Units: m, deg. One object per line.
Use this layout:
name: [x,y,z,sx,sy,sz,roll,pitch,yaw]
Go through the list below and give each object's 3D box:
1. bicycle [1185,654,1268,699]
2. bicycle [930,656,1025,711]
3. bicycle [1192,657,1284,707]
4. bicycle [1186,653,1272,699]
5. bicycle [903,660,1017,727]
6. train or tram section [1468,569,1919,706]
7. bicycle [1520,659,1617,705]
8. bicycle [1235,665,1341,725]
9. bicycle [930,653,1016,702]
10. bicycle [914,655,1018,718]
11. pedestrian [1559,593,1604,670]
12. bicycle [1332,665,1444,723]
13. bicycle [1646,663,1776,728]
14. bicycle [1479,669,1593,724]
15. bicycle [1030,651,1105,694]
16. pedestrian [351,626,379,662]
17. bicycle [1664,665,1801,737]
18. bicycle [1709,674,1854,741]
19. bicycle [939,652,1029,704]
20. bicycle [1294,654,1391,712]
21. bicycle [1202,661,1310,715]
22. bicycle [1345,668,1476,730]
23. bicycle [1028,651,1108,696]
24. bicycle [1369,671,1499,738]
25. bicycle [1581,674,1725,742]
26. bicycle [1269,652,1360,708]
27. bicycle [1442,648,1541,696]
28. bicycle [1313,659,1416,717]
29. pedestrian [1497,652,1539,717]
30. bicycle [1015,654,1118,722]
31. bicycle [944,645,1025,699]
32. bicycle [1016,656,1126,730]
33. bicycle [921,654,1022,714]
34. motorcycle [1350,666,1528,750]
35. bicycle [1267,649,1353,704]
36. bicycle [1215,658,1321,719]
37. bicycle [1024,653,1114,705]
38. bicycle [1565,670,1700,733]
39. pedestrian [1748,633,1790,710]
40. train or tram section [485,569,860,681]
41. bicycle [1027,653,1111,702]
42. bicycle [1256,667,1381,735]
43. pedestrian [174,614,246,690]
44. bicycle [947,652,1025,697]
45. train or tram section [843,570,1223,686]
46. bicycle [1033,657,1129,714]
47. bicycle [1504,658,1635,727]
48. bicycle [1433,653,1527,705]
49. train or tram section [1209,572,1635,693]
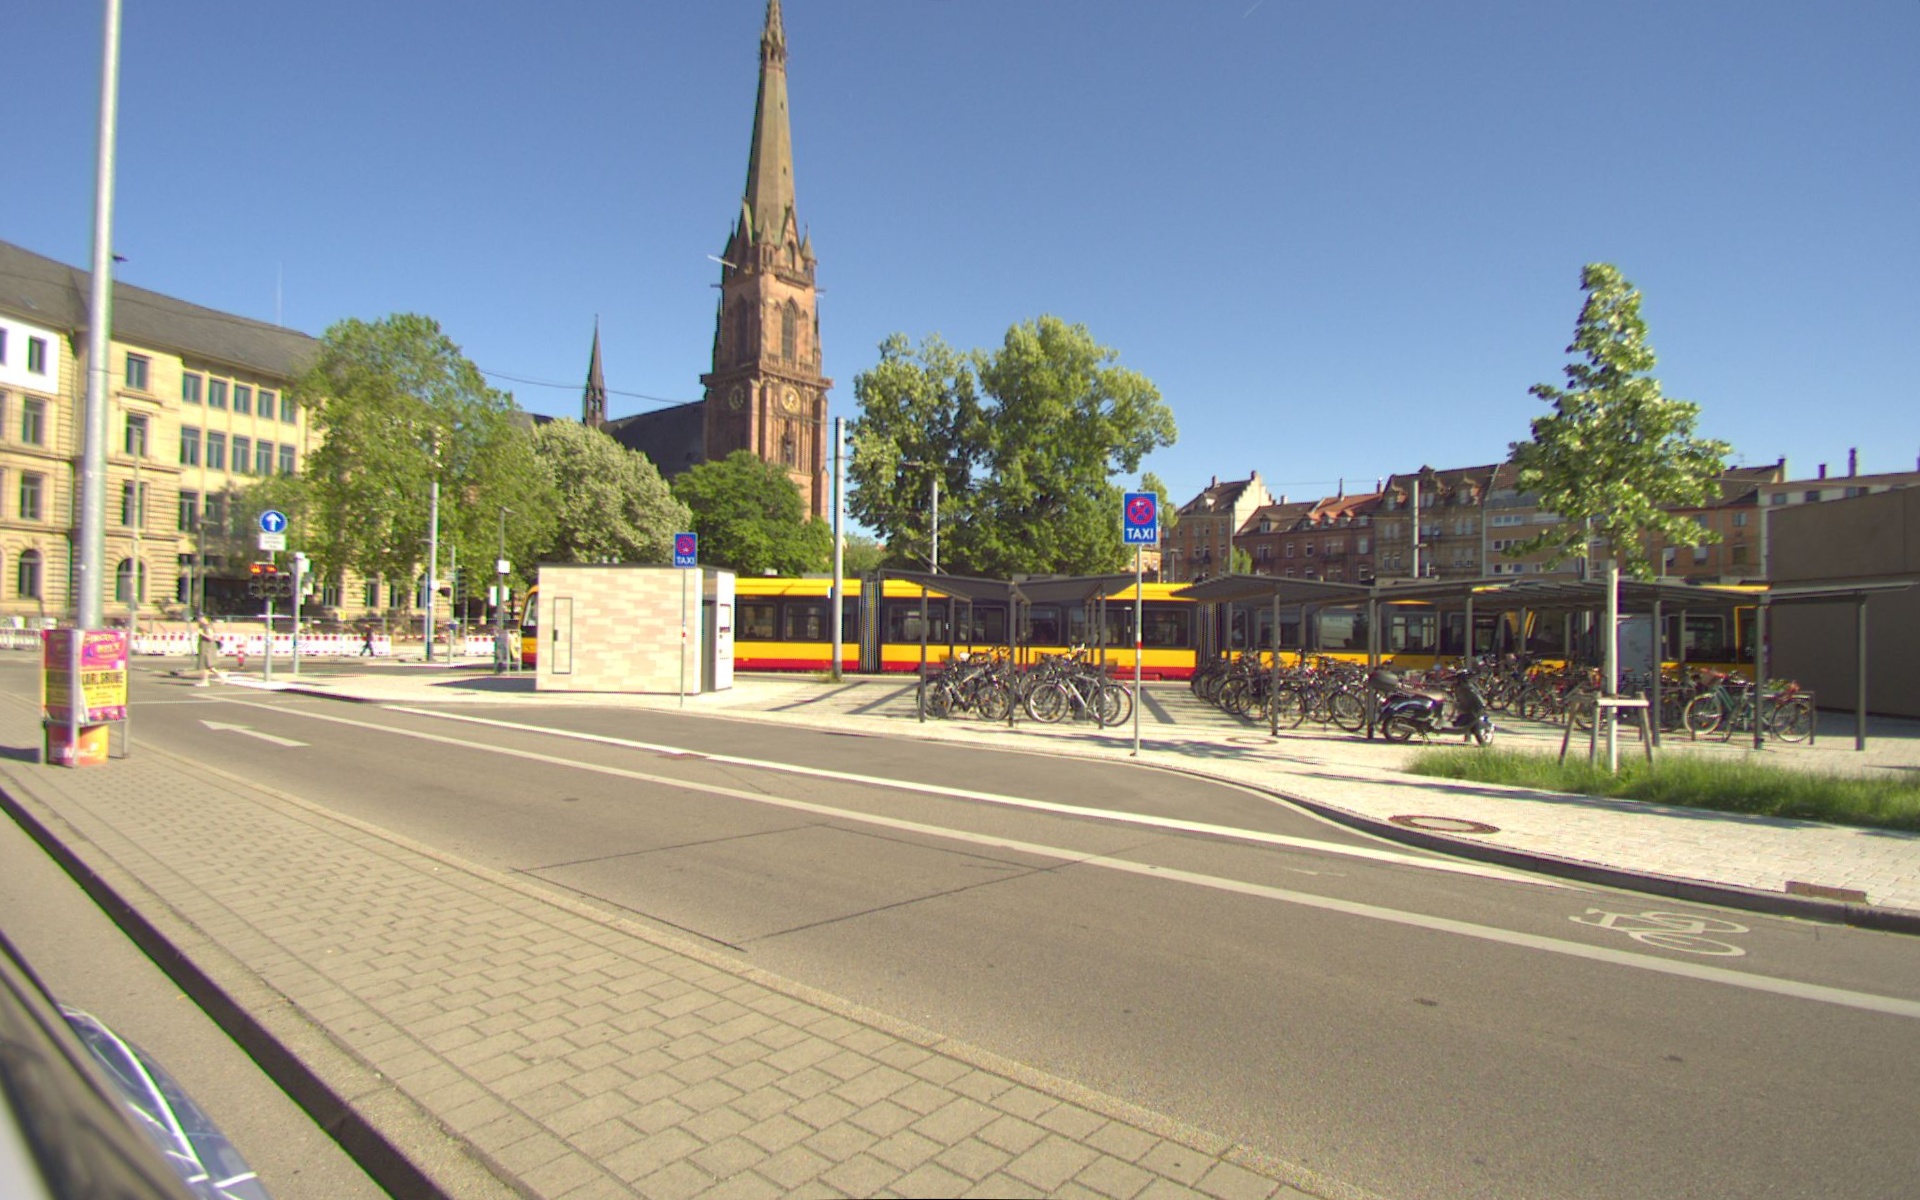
bicycle: [6.253,1.789,23.792,1.808,1.015,0.627,0,-2,6]
bicycle: [0.362,1.638,19.979,1.809,1.015,0.627,0,-2,9]
bicycle: [5.971,1.760,21.800,1.805,1.015,0.629,0,-2,0]
bicycle: [6.123,1.724,23.104,1.807,1.015,0.628,0,-2,5]
bicycle: [0.008,1.586,17.369,1.847,1.015,0.699,2,-2,9]
train or tram section: [21.392,1.010,28.696,12.179,3.628,2.748,0,-2,7]
bicycle: [14.055,1.884,23.399,1.808,1.015,0.627,0,-2,7]
bicycle: [5.854,1.689,18.126,1.731,1.015,0.547,0,-2,10]
bicycle: [0.291,1.694,22.166,1.809,1.015,0.627,0,-2,9]
bicycle: [0.117,1.541,18.231,1.809,1.074,0.627,0,-2,9]
pedestrian: [15.574,0.786,25.364,0.700,1.869,0.751,2,-2,-38]
bicycle: [8.002,1.752,18.964,1.808,1.015,0.627,0,-2,7]
bicycle: [13.592,1.720,18.353,1.808,1.101,0.627,0,-2,7]
bicycle: [11.263,1.876,19.834,1.809,1.015,0.627,0,-2,9]
bicycle: [2.634,1.762,24.803,1.808,1.015,0.627,0,-2,7]
pedestrian: [-29.271,2.166,49.821,0.920,1.754,0.807,1,-2,-8]
bicycle: [12.992,1.691,17.058,1.805,1.155,0.629,0,-2,0]
bicycle: [13.021,1.698,16.070,1.803,1.015,0.629,1,-2,-3]
bicycle: [0.514,1.619,21.134,1.809,1.015,0.627,0,-2,9]
bicycle: [8.112,1.749,21.522,1.808,1.170,0.627,0,-2,7]
bicycle: [5.951,1.764,20.425,1.978,1.015,0.628,0,-2,4]
bicycle: [7.921,1.734,17.870,2.003,1.015,0.627,0,-2,7]
bicycle: [2.512,1.706,23.604,1.808,1.015,0.627,0,-2,7]
bicycle: [7.769,1.707,16.644,1.808,1.015,0.627,0,-2,7]
bicycle: [11.160,1.726,16.342,1.809,1.015,0.627,0,-2,9]
bicycle: [7.930,1.771,22.672,1.808,1.198,0.647,0,-2,7]
bicycle: [11.689,1.580,22.300,1.809,1.015,0.627,0,-2,9]
bicycle: [8.076,1.750,20.256,1.808,1.088,0.627,0,-2,7]
pedestrian: [14.734,2.216,26.740,0.762,1.672,0.604,0,-2,4]
bicycle: [1.911,1.581,18.270,1.808,1.157,0.627,0,-2,7]
bicycle: [0.564,1.650,23.409,1.809,1.188,0.627,0,-2,9]
bicycle: [1.866,1.559,17.128,1.808,1.167,0.627,1,-2,7]
bicycle: [0.214,1.547,18.760,1.809,1.059,0.571,0,-2,9]
motorcycle: [7.169,1.607,15.227,2.333,1.167,0.610,0,-2,7]
bicycle: [8.238,1.788,23.870,1.808,1.242,0.627,0,-2,7]
bicycle: [5.878,1.686,19.404,1.859,1.101,0.626,0,-2,8]
bicycle: [2.231,1.612,20.843,1.808,1.015,0.627,0,-2,7]
bicycle: [11.604,1.745,17.519,1.872,1.004,0.499,0,-2,13]
pedestrian: [20.003,1.757,25.028,0.595,1.869,0.683,2,-2,-38]
train or tram section: [-9.865,0.839,35.211,12.382,3.628,2.796,0,-2,6]
bicycle: [2.379,1.691,22.117,1.808,1.015,0.627,0,-2,7]
bicycle: [5.979,1.680,16.972,1.871,1.050,0.688,0,-2,9]
pedestrian: [-18.886,1.291,25.500,0.824,1.869,1.217,-1,-2,31]
bicycle: [0.622,1.754,24.109,1.809,1.015,0.627,0,-2,9]
train or tram section: [2.345,0.895,33.919,12.174,3.628,2.796,0,-2,6]
bicycle: [2.322,1.638,19.535,1.808,1.015,0.745,0,-2,7]
bicycle: [11.299,1.707,18.794,2.029,1.218,0.505,0,-2,8]
bicycle: [12.003,1.818,23.396,1.809,1.140,0.627,0,-2,9]
train or tram section: [14.463,1.008,32.661,12.174,3.628,2.828,0,-2,6]
